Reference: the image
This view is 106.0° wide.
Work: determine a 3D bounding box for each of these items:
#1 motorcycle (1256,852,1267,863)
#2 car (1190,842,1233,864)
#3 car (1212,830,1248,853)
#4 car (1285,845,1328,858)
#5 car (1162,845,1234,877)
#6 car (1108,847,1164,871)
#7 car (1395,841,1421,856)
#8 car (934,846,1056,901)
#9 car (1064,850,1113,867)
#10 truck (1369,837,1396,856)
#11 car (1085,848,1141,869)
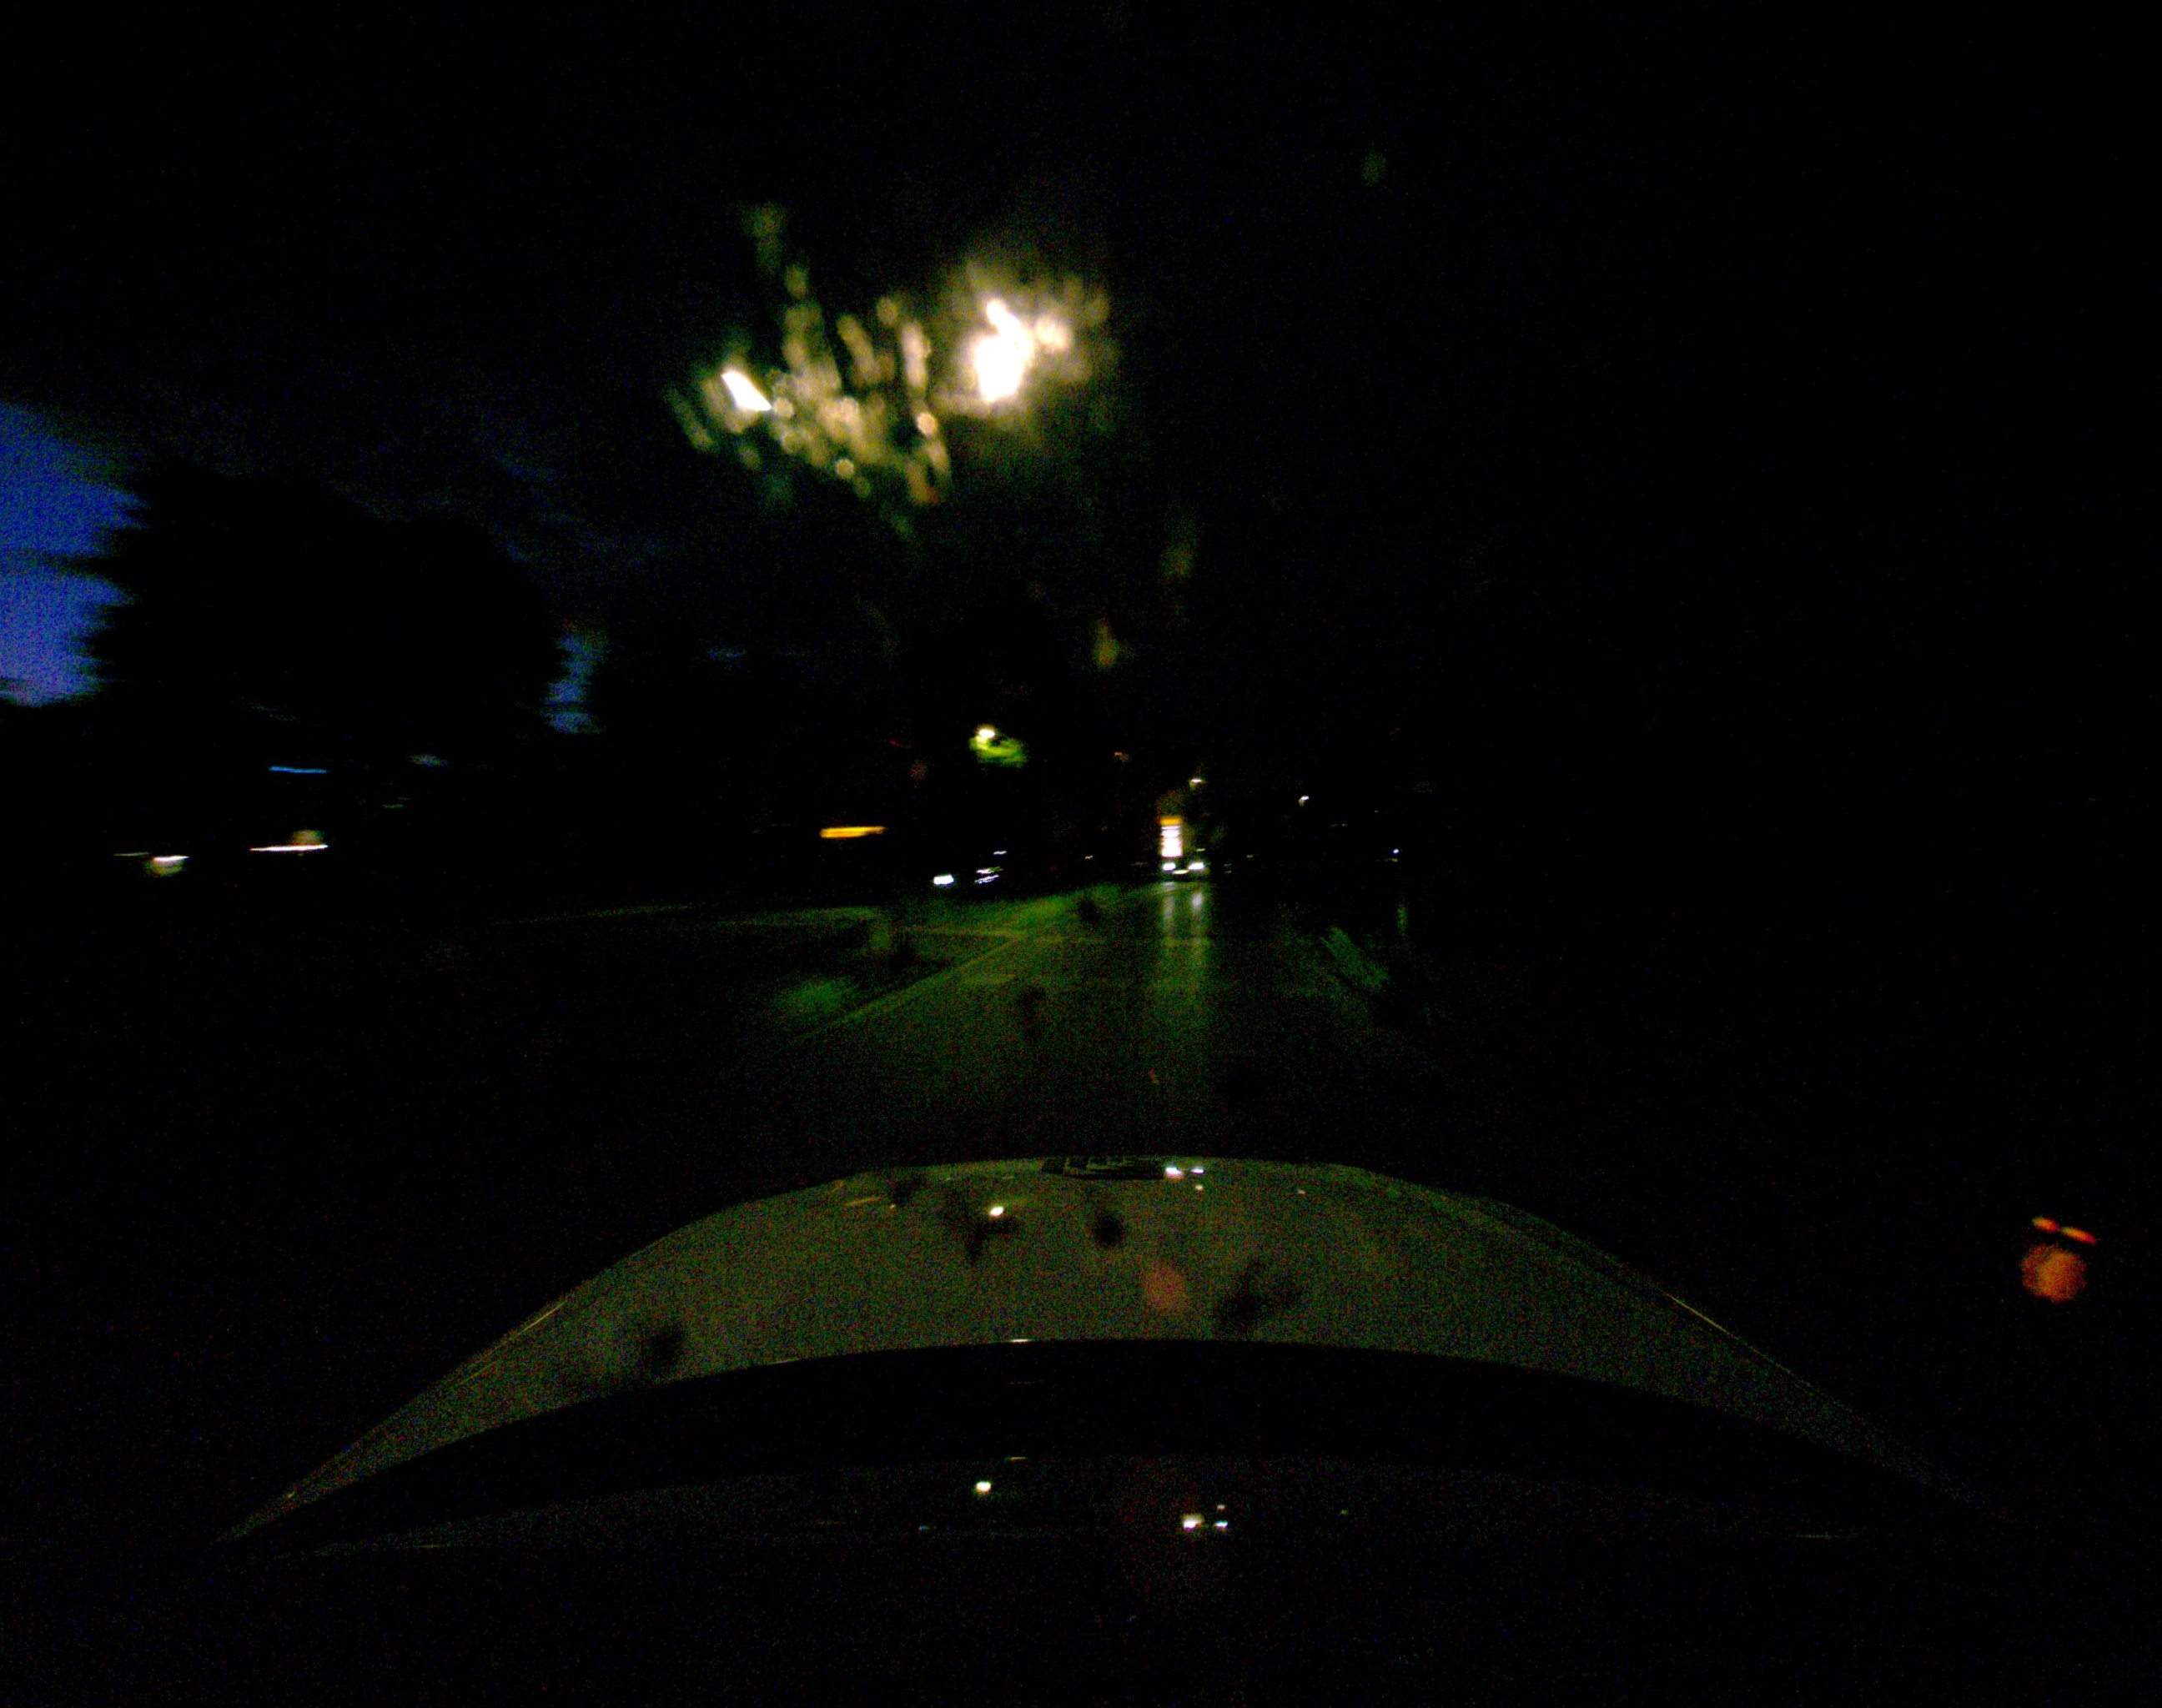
[{"bbox_3d":[20.674,0.388,93.211,0.977,1.144,1.858,0,0,21],"label":"motorcycle"},{"bbox_3d":[10.101,-0.093,62.777,1.738,1.607,4.480,0,1,31],"label":"car"},{"bbox_3d":[13.913,-1.180,75.694,1.974,2.013,4.026,1,3,31],"label":"car"},{"bbox_3d":[25.156,-0.263,90.690,4.307,1.359,1.653,-2,0,28],"label":"car"},{"bbox_3d":[5.754,0.320,39.584,1.742,1.403,4.616,-2,0,31],"label":"car"},{"bbox_3d":[3.639,0.306,53.528,3.720,1.420,1.531,-1,1,-42],"label":"car"},{"bbox_3d":[36.848,-0.640,91.674,1.738,1.607,4.481,-3,0,34],"label":"car"},{"bbox_3d":[-2.409,0.513,24.100,1.744,1.445,4.550,0,0,21],"label":"car"},{"bbox_3d":[0.528,0.301,56.891,3.231,1.131,1.531,-1,1,-42],"label":"car"},{"bbox_3d":[36.514,-0.920,98.520,2.227,2.129,6.016,-3,-1,27],"label":"truck"},{"bbox_3d":[2.186,0.315,54.996,3.719,1.311,1.531,-1,1,-41],"label":"car"}]
